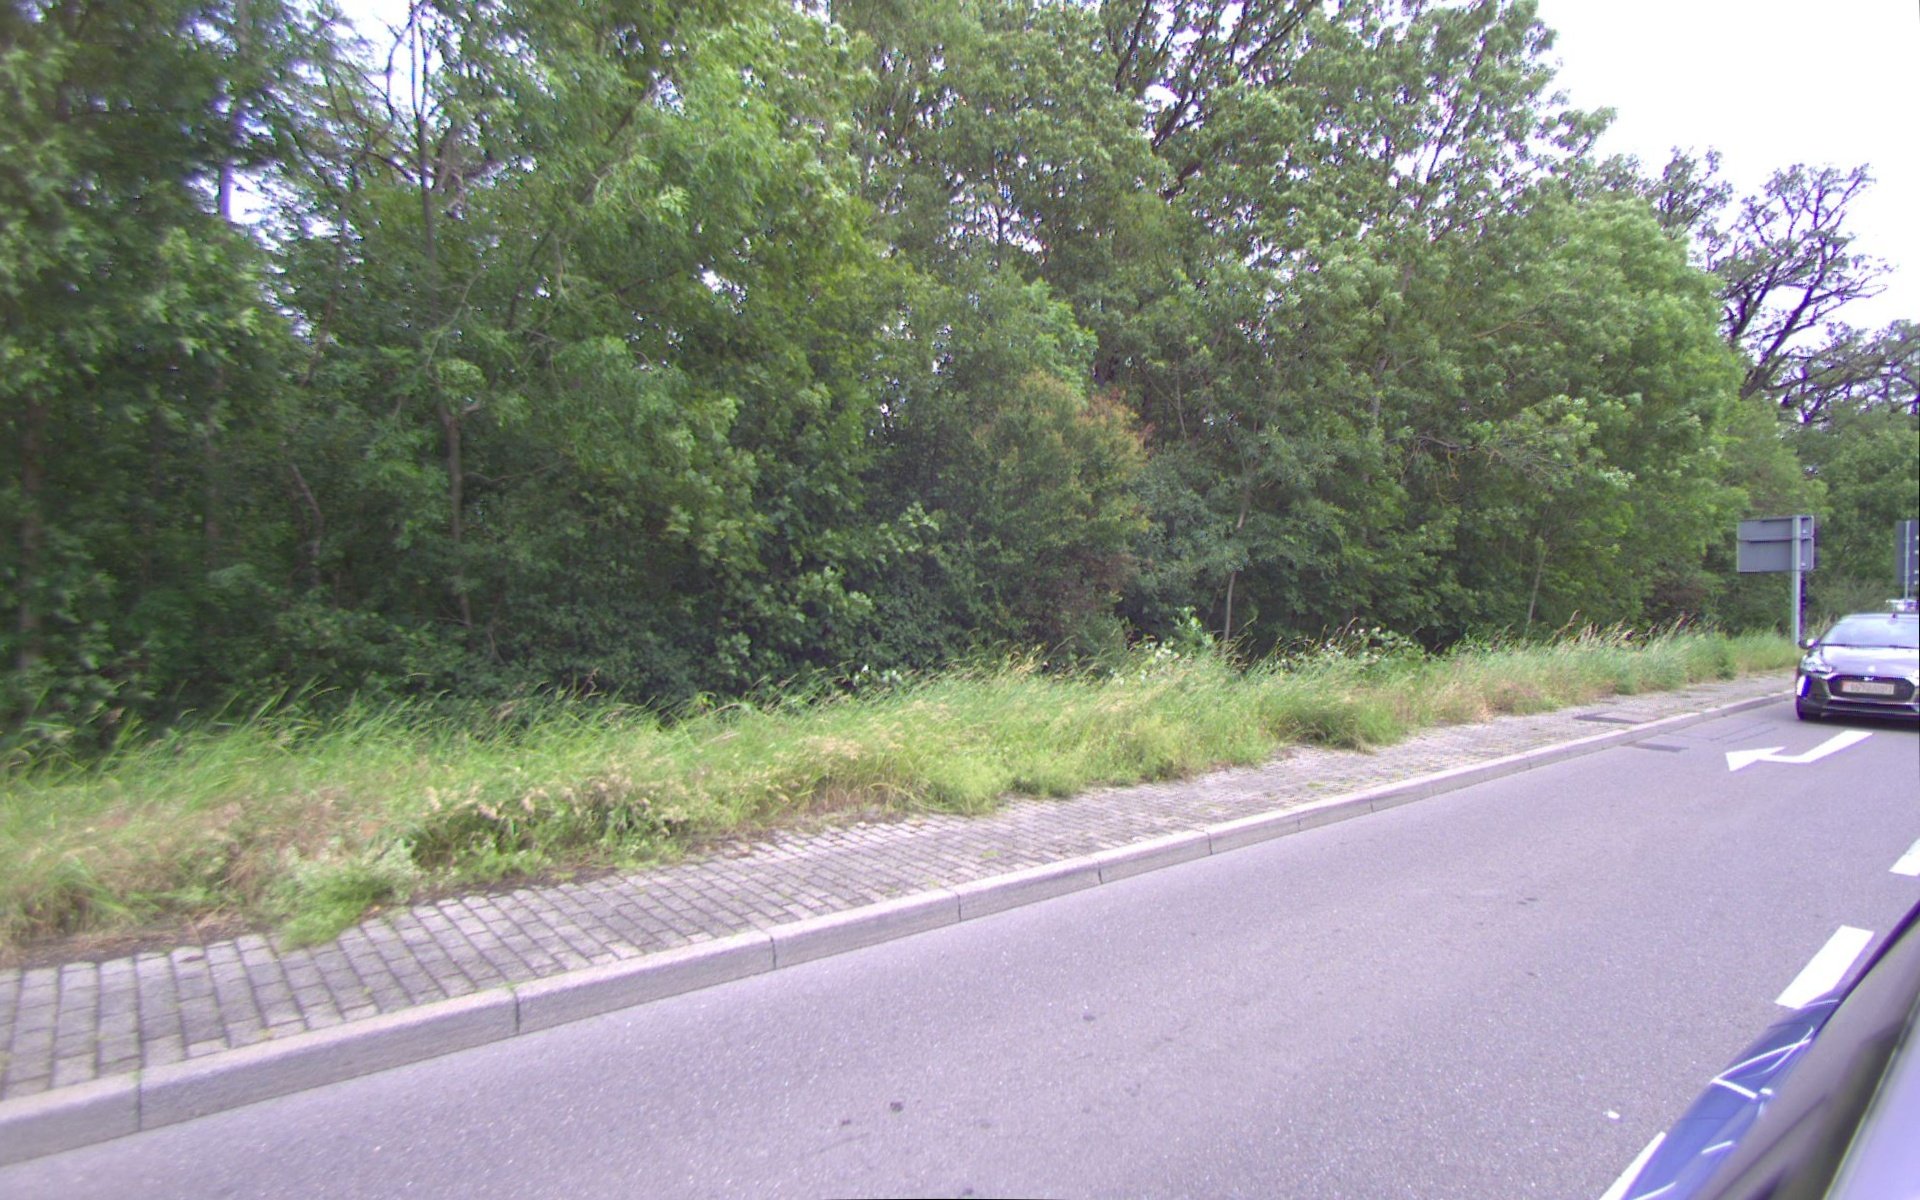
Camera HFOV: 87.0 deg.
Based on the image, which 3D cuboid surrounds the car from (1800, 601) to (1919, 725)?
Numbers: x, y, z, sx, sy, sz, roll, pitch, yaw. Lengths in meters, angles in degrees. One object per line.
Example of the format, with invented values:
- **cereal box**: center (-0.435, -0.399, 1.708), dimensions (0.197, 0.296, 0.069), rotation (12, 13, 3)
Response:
- **car**: center (12.816, 0.760, 13.573), dimensions (3.786, 1.476, 1.729), rotation (0, 0, -40)
